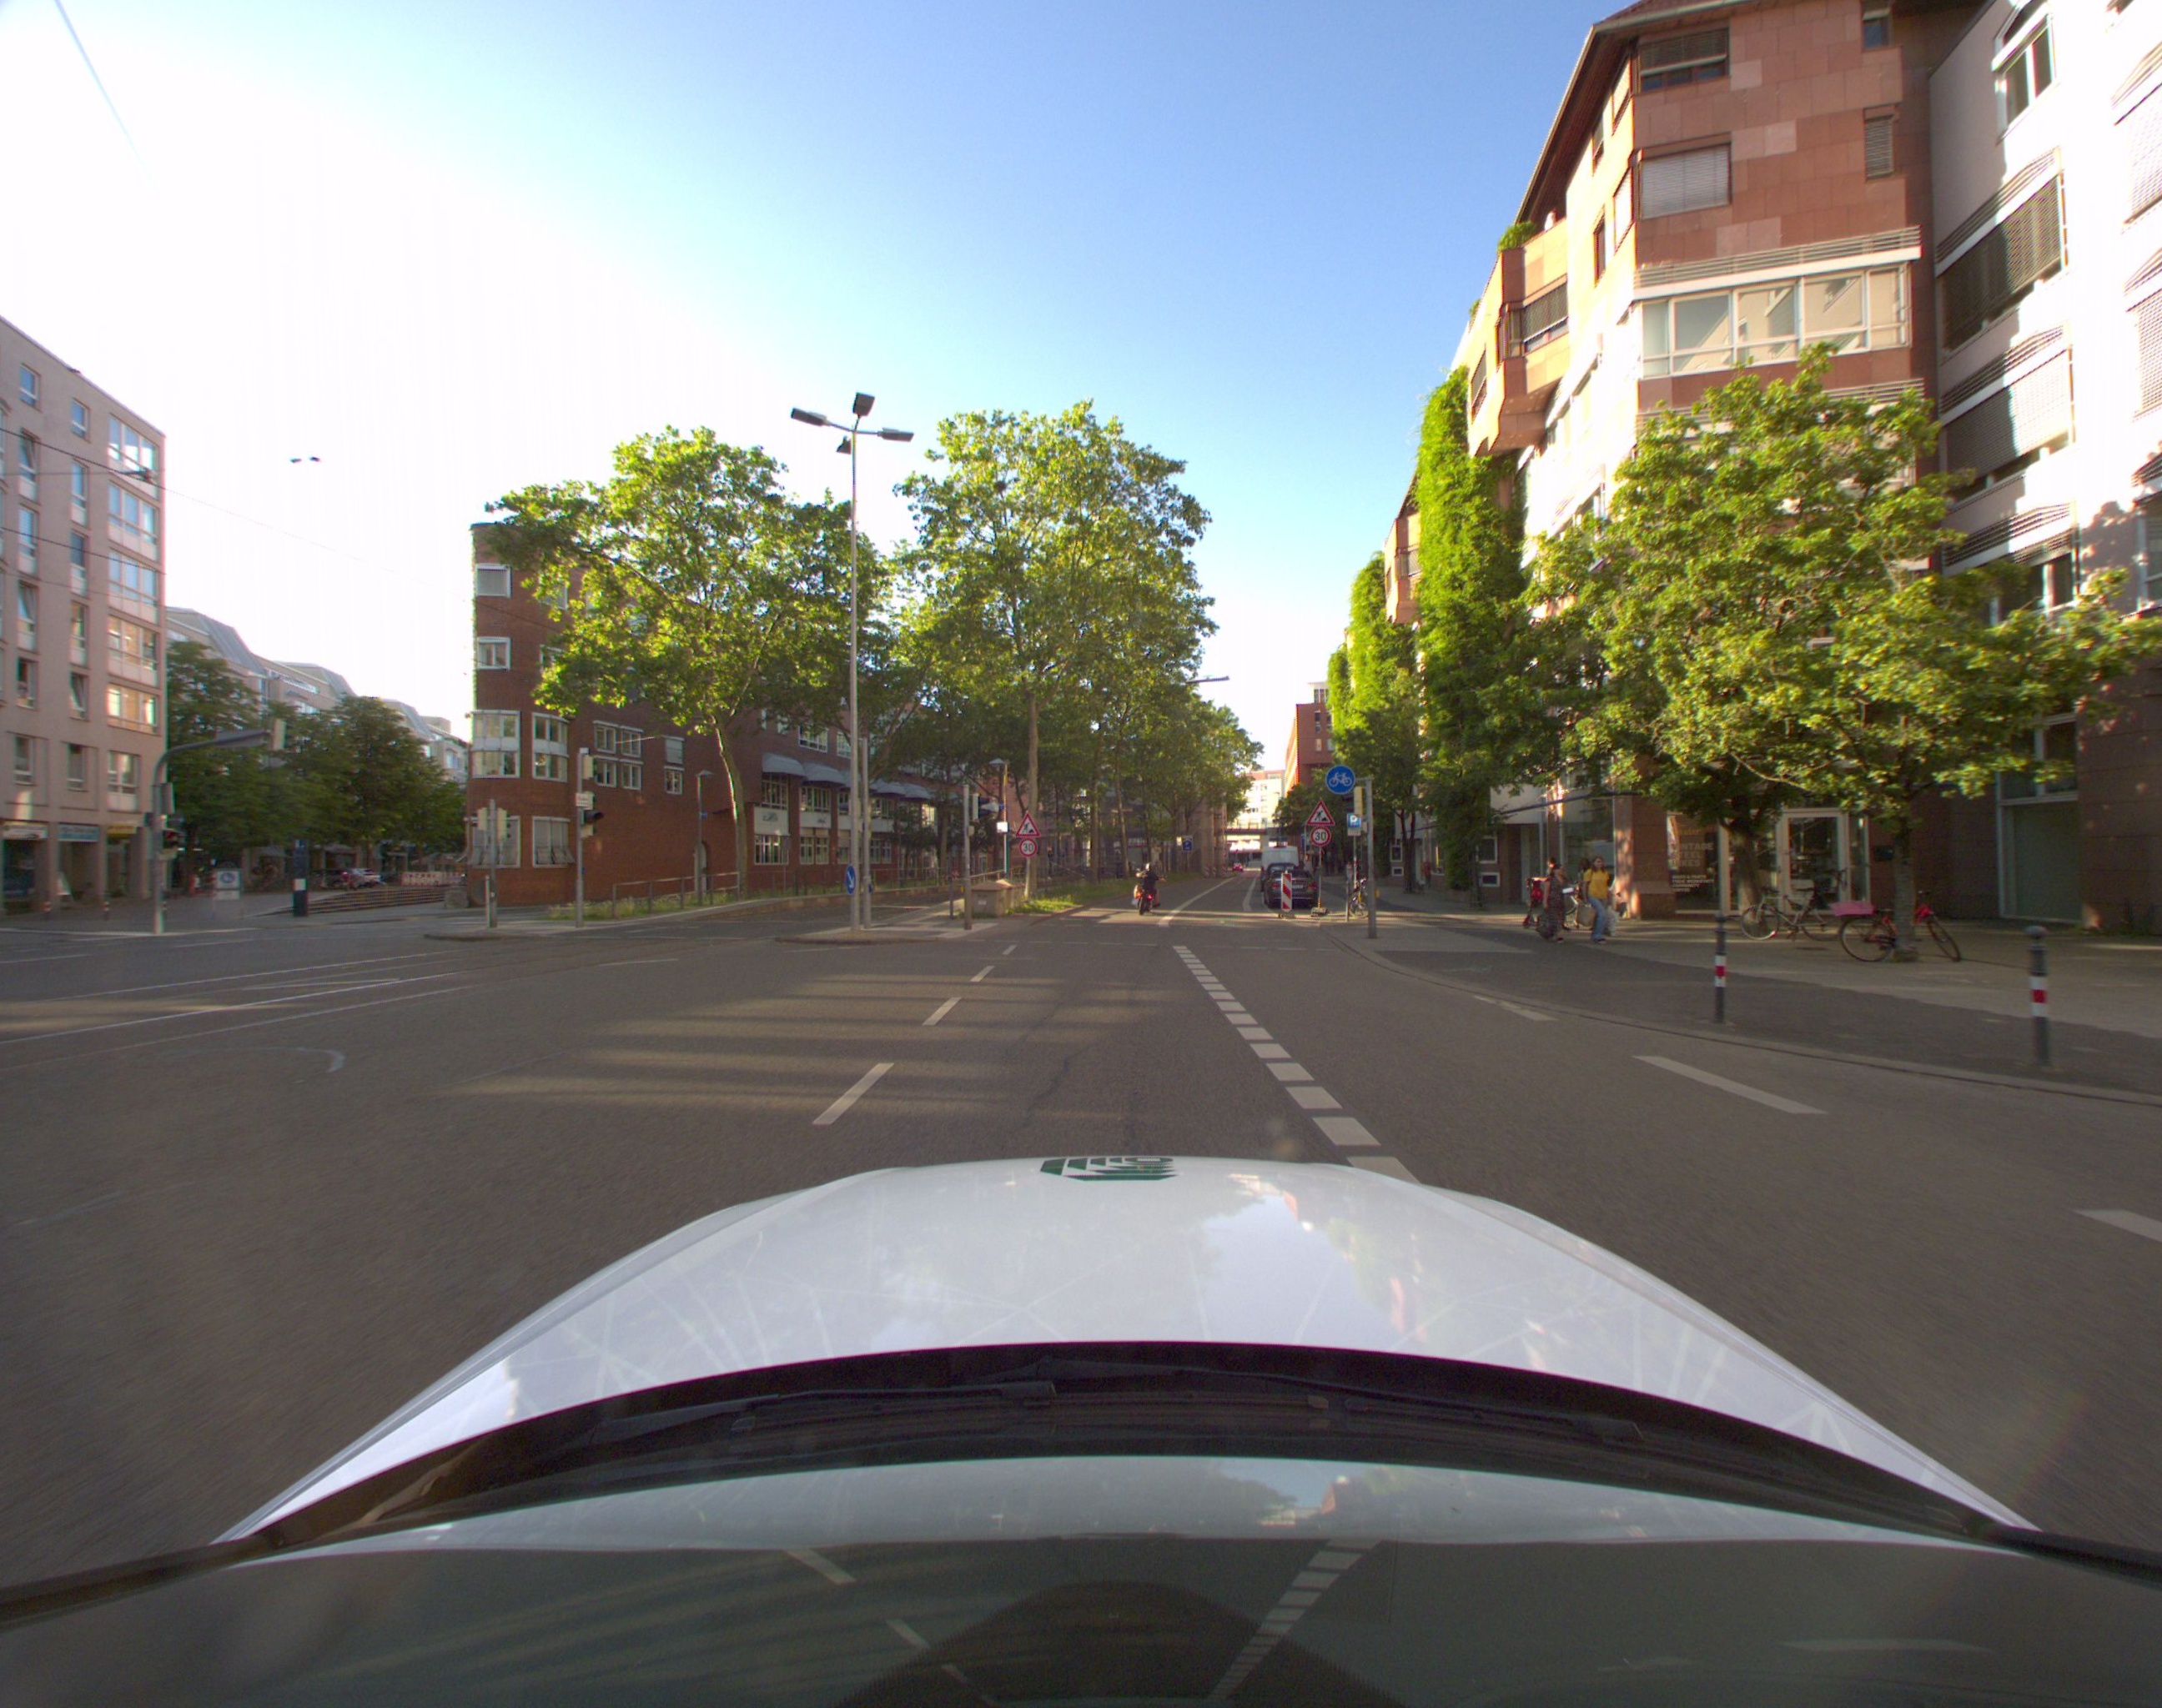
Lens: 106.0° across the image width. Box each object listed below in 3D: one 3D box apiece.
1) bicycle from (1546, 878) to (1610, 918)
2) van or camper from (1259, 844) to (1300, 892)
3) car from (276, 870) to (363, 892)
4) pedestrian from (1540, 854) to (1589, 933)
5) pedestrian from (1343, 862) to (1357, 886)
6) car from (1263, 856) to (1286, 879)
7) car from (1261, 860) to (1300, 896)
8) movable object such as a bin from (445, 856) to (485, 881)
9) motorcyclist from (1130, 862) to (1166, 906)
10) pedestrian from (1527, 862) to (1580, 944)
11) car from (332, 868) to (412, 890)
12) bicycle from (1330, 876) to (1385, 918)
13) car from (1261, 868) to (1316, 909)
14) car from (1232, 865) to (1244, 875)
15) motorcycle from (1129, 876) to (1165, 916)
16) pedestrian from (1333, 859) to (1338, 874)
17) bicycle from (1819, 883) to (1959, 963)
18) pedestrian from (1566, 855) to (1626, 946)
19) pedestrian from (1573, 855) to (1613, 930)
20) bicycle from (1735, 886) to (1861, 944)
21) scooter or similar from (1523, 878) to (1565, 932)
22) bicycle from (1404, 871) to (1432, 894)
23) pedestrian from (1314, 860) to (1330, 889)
[{"bbox_3d":[12.981,1.135,21.334,0.733,0.939,1.755,-1,0,6],"label":"bicycle"},{"bbox_3d":[11.109,0.757,45.838,2.035,2.541,5.791,-1,-1,12],"label":"van or camper"},{"bbox_3d":[-52.033,1.838,55.765,4.014,1.400,1.980,0,-1,-32],"label":"car"},{"bbox_3d":[11.021,0.888,18.586,0.781,1.763,0.611,-1,-1,9],"label":"pedestrian"},{"bbox_3d":[16.385,1.224,49.562,0.759,1.445,0.783,0,-1,16],"label":"pedestrian"},{"bbox_3d":[17.744,1.204,74.871,1.823,2.014,4.401,-1,-1,11],"label":"car"},{"bbox_3d":[9.582,1.121,39.314,1.609,1.619,4.499,-1,-1,11],"label":"car"},{"bbox_3d":[-57.485,1.340,76.042,1.928,2.310,2.776,-1,0,-13],"label":"movable object such as a bin"},{"bbox_3d":[1.984,0.875,24.094,1.006,1.263,0.775,2,0,6],"label":"motorcyclist"},{"bbox_3d":[9.305,0.953,16.057,0.641,1.578,0.749,-1,-1,5],"label":"pedestrian"},{"bbox_3d":[-52.037,1.803,59.875,1.980,1.556,4.014,-1,-1,13],"label":"car"},{"bbox_3d":[7.512,1.145,22.228,0.736,1.053,1.748,-1,0,-7],"label":"bicycle"},{"bbox_3d":[7.421,1.201,29.380,1.610,1.302,4.324,-1,-1,10],"label":"car"},{"bbox_3d":[27.116,2.719,141.059,1.841,1.717,4.009,-1,-1,8],"label":"car"},{"bbox_3d":[2.003,1.228,24.359,1.013,1.097,2.011,0,0,6],"label":"motorcycle"},{"bbox_3d":[27.165,1.319,86.913,0.447,1.627,0.375,-1,-1,7],"label":"pedestrian"},{"bbox_3d":[12.936,1.094,13.071,1.558,1.227,0.579,-1,-1,7],"label":"bicycle"},{"bbox_3d":[10.092,0.888,15.974,0.697,1.733,0.769,-1,-1,5],"label":"pedestrian"},{"bbox_3d":[11.646,0.869,18.531,0.457,1.672,0.680,-1,-1,1],"label":"pedestrian"},{"bbox_3d":[14.039,1.168,16.020,1.730,1.053,0.744,-1,-1,29],"label":"bicycle"},{"bbox_3d":[10.598,1.152,18.675,0.392,1.158,1.252,-1,-1,8],"label":"scooter or similar"},{"bbox_3d":[15.330,1.281,37.063,0.614,1.020,1.916,-1,-1,5],"label":"bicycle"},{"bbox_3d":[14.101,1.195,47.687,0.759,1.645,0.548,-1,-1,4],"label":"pedestrian"}]
